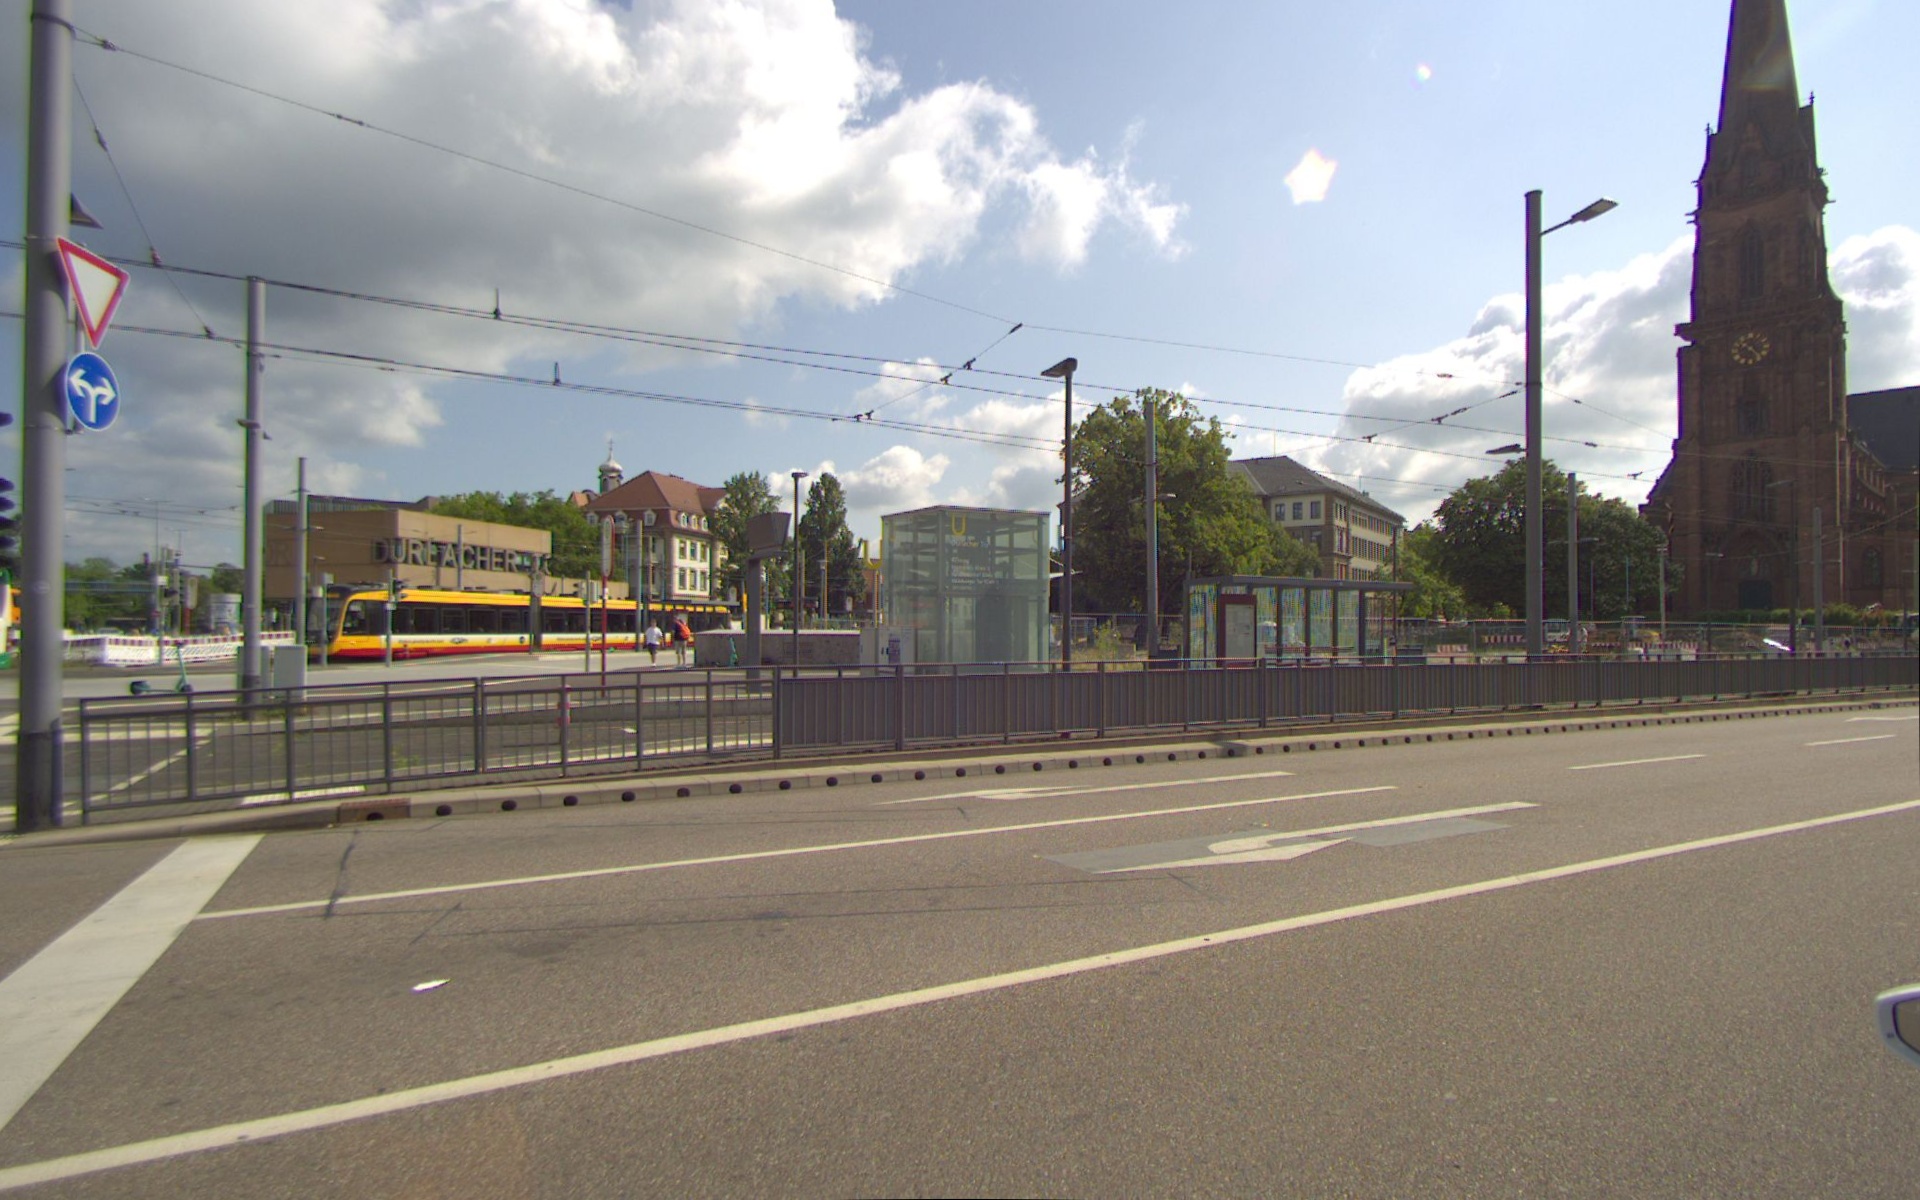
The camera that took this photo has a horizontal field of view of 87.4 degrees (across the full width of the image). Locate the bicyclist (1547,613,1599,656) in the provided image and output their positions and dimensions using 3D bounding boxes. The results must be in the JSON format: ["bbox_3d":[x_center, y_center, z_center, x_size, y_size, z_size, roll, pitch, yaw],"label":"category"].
[{"bbox_3d":[25.119,1.426,41.166,1.665,1.706,1.172,1,-2,-31],"label":"bicyclist"}]

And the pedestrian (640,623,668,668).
[{"bbox_3d":[-11.808,1.750,38.769,0.766,1.694,0.721,0,-1,10],"label":"pedestrian"}]

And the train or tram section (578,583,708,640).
[{"bbox_3d":[-21.441,0.743,68.875,3.257,3.527,10.613,-2,0,15],"label":"train or tram section"}]

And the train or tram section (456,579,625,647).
[{"bbox_3d":[-24.050,0.721,58.544,3.257,3.527,10.613,-2,0,15],"label":"train or tram section"}]

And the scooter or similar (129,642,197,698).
[{"bbox_3d":[-17.689,1.535,22.310,1.158,1.182,0.804,1,-2,-39],"label":"scooter or similar"}]

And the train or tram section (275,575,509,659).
[{"bbox_3d":[-26.763,0.775,48.311,3.257,3.527,10.613,-2,0,15],"label":"train or tram section"}]

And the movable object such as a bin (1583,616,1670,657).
[{"bbox_3d":[50.287,2.746,75.884,1.981,2.950,5.103,1,-2,-36],"label":"movable object such as a bin"}]

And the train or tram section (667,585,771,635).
[{"bbox_3d":[-18.708,0.755,79.036,3.257,3.527,10.613,-2,0,15],"label":"train or tram section"}]

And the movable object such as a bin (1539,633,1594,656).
[{"bbox_3d":[43.330,3.165,71.740,5.116,1.522,1.976,2,-2,-42],"label":"movable object such as a bin"}]

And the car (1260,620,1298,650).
[{"bbox_3d":[24.835,2.665,78.171,1.906,2.166,4.637,-1,0,29],"label":"car"}]

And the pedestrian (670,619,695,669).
[{"bbox_3d":[-10.267,1.616,37.210,0.706,1.818,0.563,0,-1,13],"label":"pedestrian"}]

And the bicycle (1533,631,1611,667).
[{"bbox_3d":[25.079,1.985,41.127,3.651,1.445,1.187,1,-2,-31],"label":"bicycle"}]

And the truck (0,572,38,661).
[{"bbox_3d":[-44.940,0.698,44.590,2.793,4.061,8.040,0,-2,-19],"label":"truck"}]

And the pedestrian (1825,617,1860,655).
[{"bbox_3d":[47.656,1.935,54.251,1.037,2.040,1.062,1,-2,-26],"label":"pedestrian"}]

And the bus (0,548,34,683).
[{"bbox_3d":[-32.188,0.405,27.541,12.126,3.668,2.918,0,-1,8],"label":"bus"}]

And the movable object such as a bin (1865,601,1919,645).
[{"bbox_3d":[69.491,1.699,74.586,3.946,3.147,1.988,-1,0,-25],"label":"movable object such as a bin"}]
